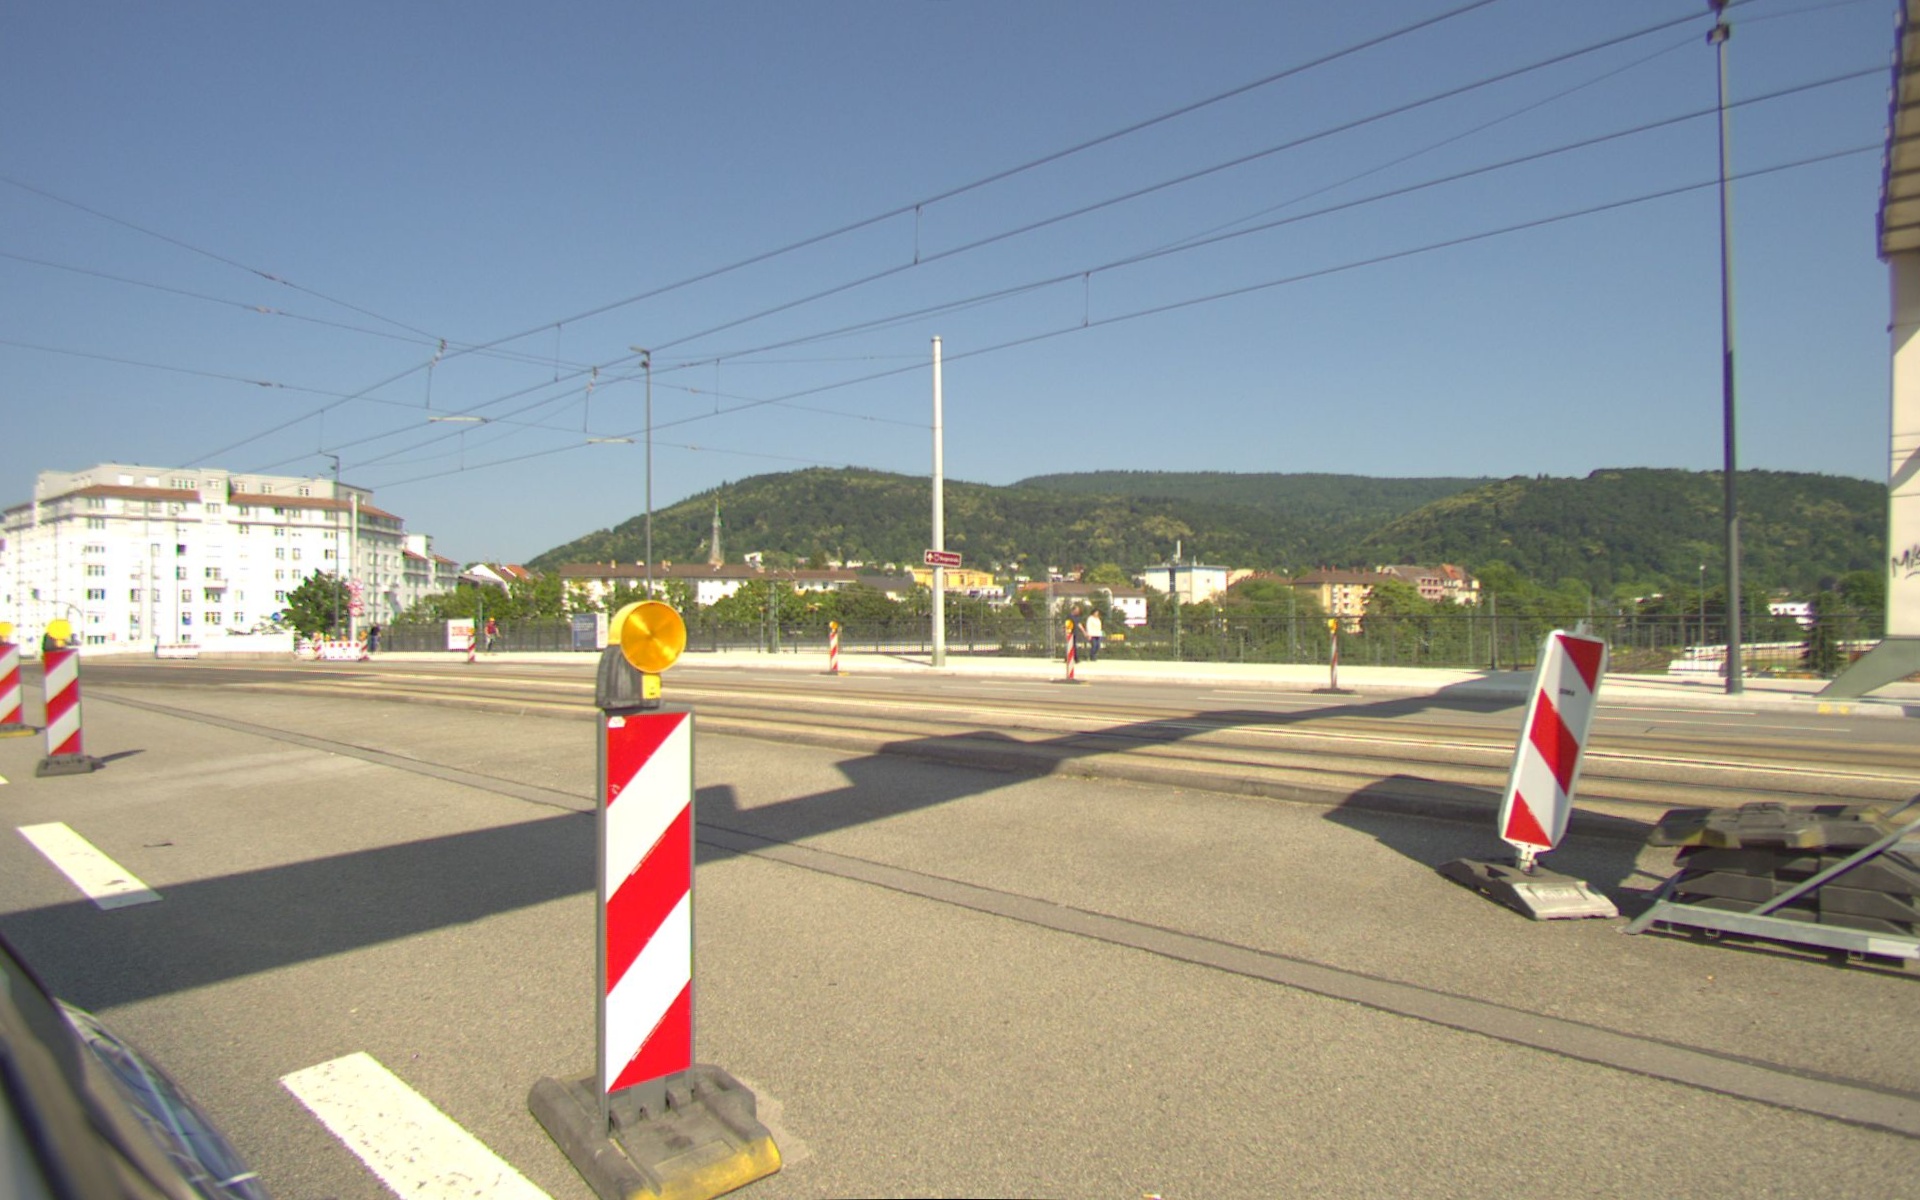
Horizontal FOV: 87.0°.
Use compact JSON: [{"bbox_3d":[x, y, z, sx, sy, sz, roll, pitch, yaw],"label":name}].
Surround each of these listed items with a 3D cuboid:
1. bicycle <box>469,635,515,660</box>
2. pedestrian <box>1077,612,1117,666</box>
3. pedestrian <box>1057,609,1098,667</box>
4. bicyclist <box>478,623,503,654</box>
[{"bbox_3d":[-23.926,2.439,51.672,3.069,1.204,0.847,-2,-1,39],"label":"bicycle"},{"bbox_3d":[4.128,1.162,30.494,0.888,1.556,0.712,-2,0,40],"label":"pedestrian"},{"bbox_3d":[3.471,1.109,29.932,0.894,1.654,0.736,-2,0,40],"label":"pedestrian"},{"bbox_3d":[-23.988,1.982,51.715,0.816,1.530,0.847,-2,-1,39],"label":"bicyclist"}]
